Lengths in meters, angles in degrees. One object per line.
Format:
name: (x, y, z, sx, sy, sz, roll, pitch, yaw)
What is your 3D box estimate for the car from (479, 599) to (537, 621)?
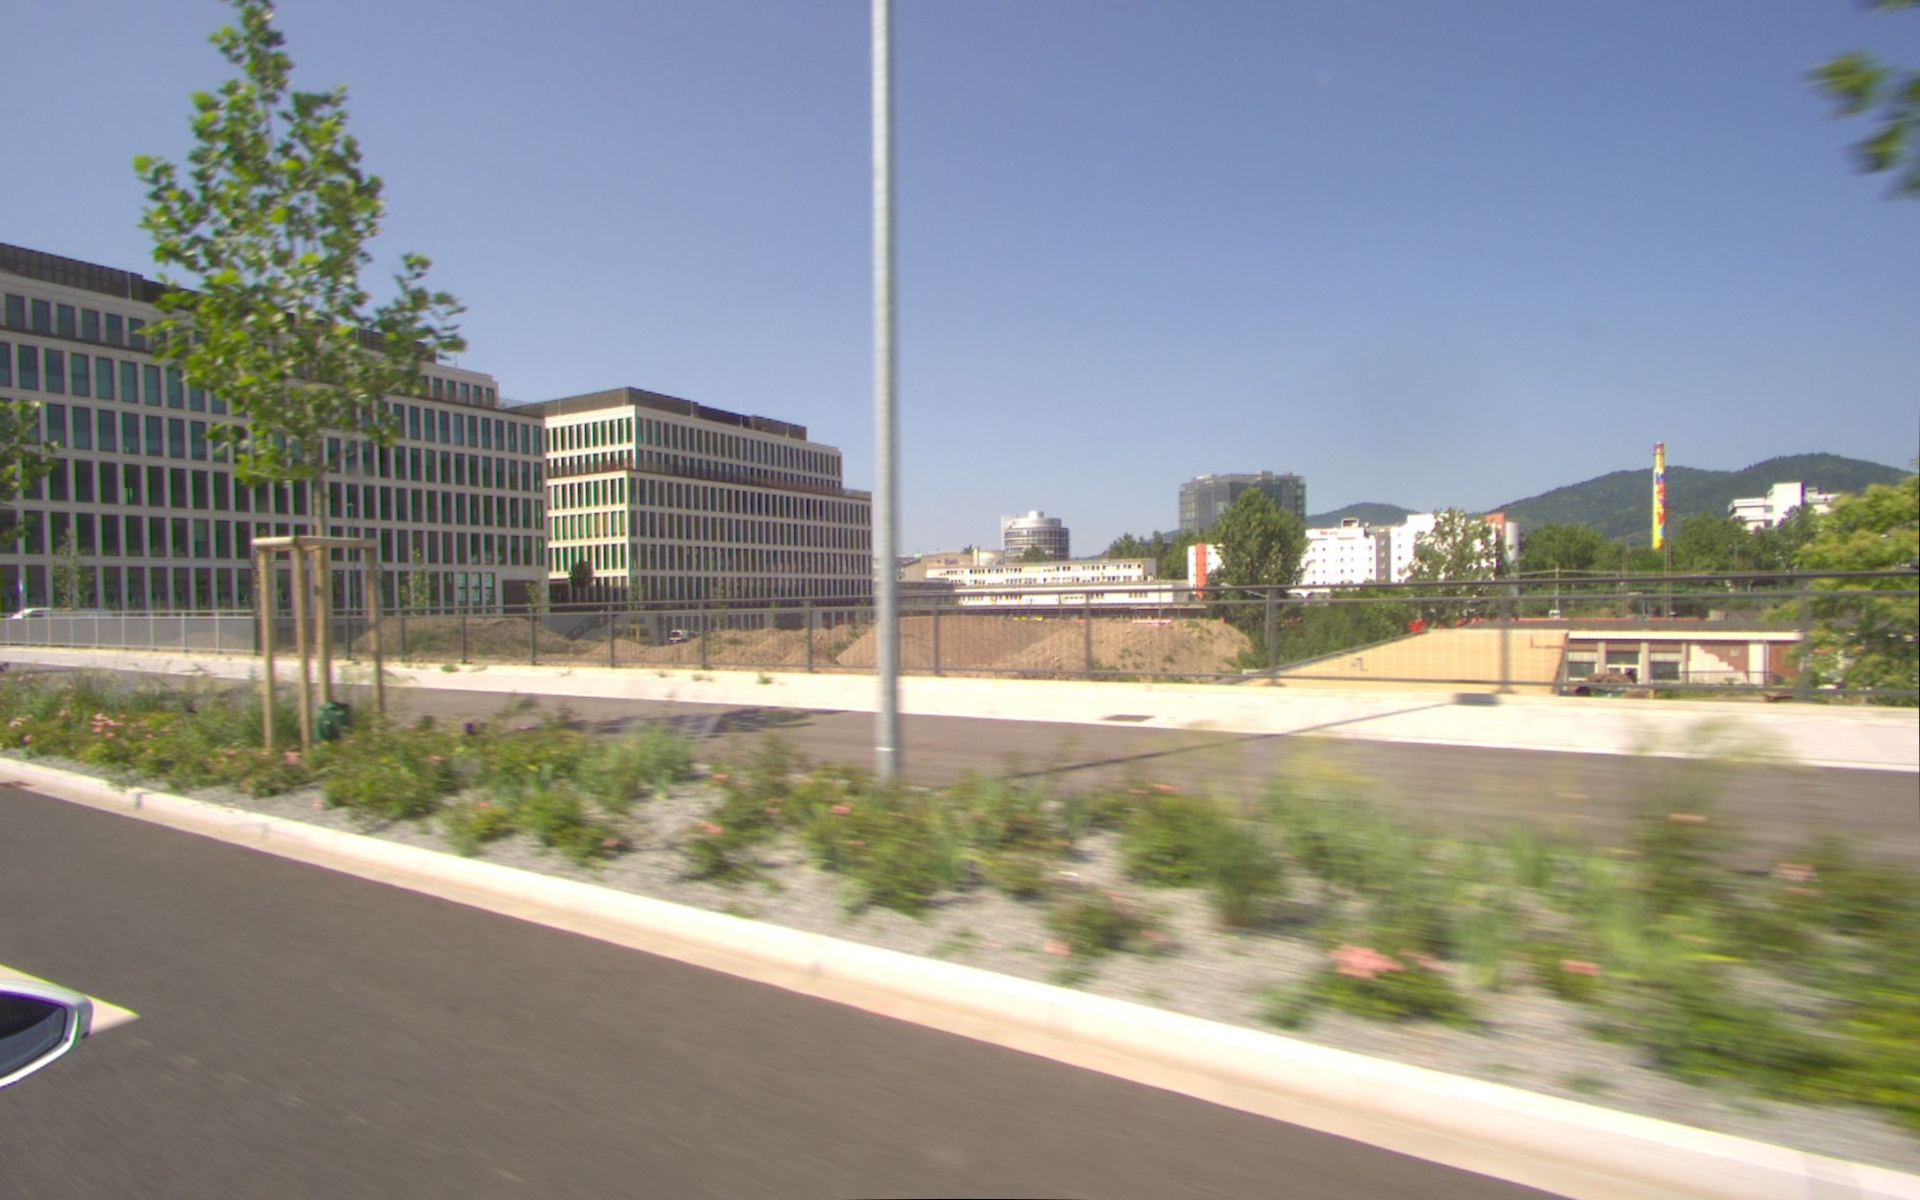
car: (-33.760, 0.759, 74.809, 1.633, 1.615, 3.673, 0, -1, 33)

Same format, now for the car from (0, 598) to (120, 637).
car: (-57.700, 1.159, 63.938, 2.116, 2.299, 5.826, 0, -2, 33)
